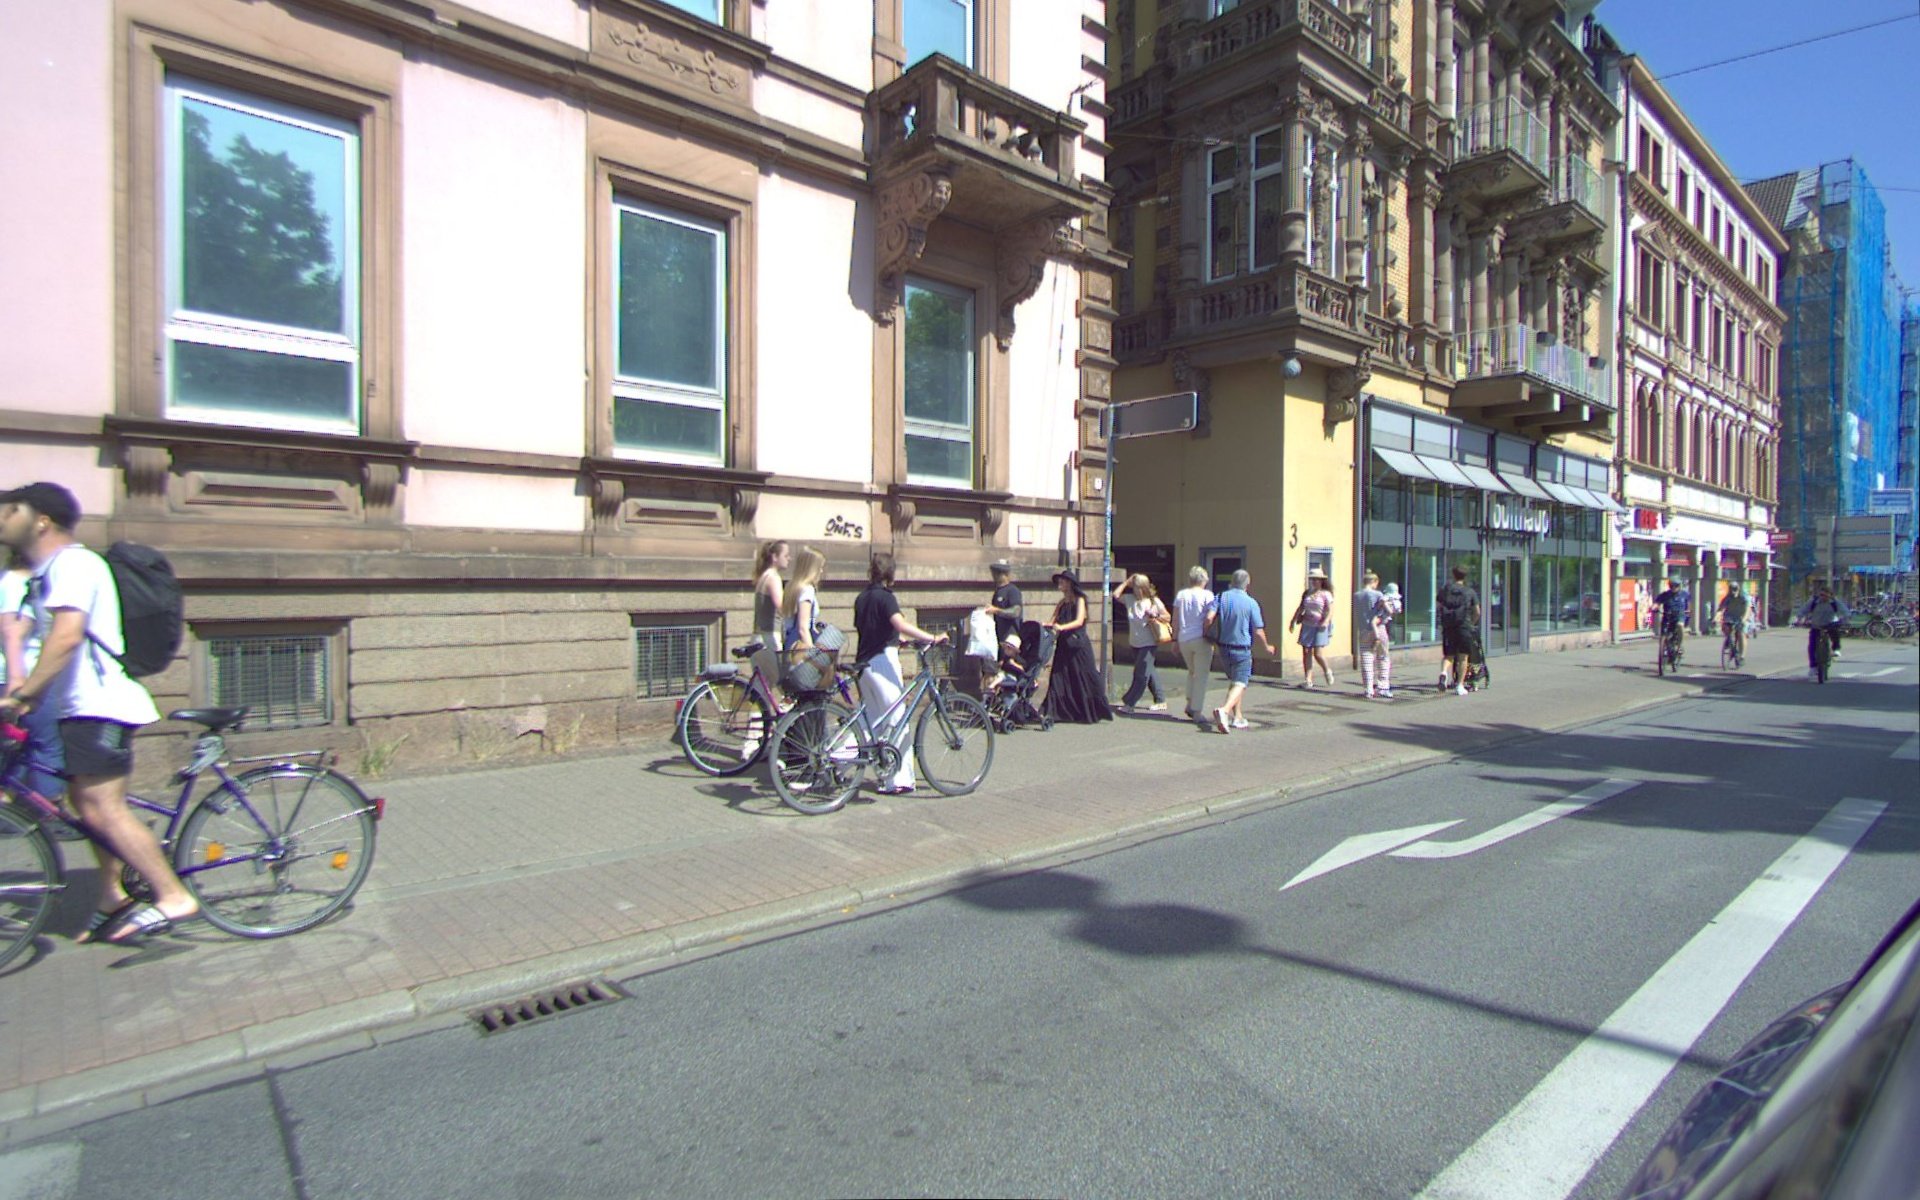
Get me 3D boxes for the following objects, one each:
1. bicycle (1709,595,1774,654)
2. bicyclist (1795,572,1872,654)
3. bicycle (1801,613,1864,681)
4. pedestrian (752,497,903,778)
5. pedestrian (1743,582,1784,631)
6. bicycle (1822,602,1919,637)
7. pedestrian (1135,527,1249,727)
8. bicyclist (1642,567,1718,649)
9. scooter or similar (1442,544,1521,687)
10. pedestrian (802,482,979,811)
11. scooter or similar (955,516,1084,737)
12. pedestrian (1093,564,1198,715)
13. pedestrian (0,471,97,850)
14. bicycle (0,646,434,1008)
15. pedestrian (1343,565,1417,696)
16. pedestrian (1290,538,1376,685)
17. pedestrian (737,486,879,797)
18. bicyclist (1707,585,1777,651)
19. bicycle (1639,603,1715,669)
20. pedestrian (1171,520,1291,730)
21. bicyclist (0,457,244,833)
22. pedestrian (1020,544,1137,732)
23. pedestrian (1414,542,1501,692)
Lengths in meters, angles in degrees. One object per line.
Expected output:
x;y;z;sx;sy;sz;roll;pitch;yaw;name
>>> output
15.644;0.454;20.240;2.454;1.096;0.642;0;1;-43;bicycle
15.814;0.210;18.317;1.212;1.411;0.911;0;1;-43;bicyclist
15.836;0.821;18.345;2.455;1.096;0.642;0;1;-44;bicycle
-1.039;0.250;7.897;0.801;2.038;0.813;0;3;-43;pedestrian
27.076;0.199;34.114;1.212;1.621;0.911;0;1;-44;pedestrian
32.091;0.669;35.685;0.632;1.096;2.495;0;1;-37;bicycle
2.493;0.256;10.908;0.801;2.038;0.813;0;3;-43;pedestrian
13.288;0.131;18.668;1.212;1.454;0.911;0;1;-43;bicyclist
7.729;0.210;14.998;1.077;2.039;0.693;0;1;-43;scooter or similar
-0.476;0.265;6.826;0.801;2.038;0.813;0;3;-43;pedestrian
0.592;0.232;9.929;1.077;2.039;0.693;0;1;-43;scooter or similar
2.129;0.420;11.613;0.801;1.622;0.813;0;3;-43;pedestrian
-5.114;0.299;5.280;0.888;1.915;0.635;0;1;-44;pedestrian
-3.267;0.795;3.867;2.103;1.116;0.779;0;1;-44;bicycle
5.659;0.382;13.655;0.617;1.715;0.707;-1;2;-39;pedestrian
5.389;0.146;14.639;0.801;2.038;0.813;0;3;-43;pedestrian
-1.069;0.255;7.105;0.688;2.038;0.661;0;3;-43;pedestrian
15.613;0.334;20.206;1.212;1.250;0.911;0;1;-43;bicyclist
13.223;0.626;18.633;2.454;1.096;0.642;0;1;-43;bicycle
2.787;0.223;10.404;0.801;2.038;0.813;0;3;-43;pedestrian
-3.324;0.136;3.777;0.955;1.234;0.922;0;1;-43;bicyclist
1.217;0.354;10.440;0.801;1.815;0.813;0;3;-43;pedestrian
7.026;0.217;14.299;0.801;2.038;0.813;0;2;-43;pedestrian
